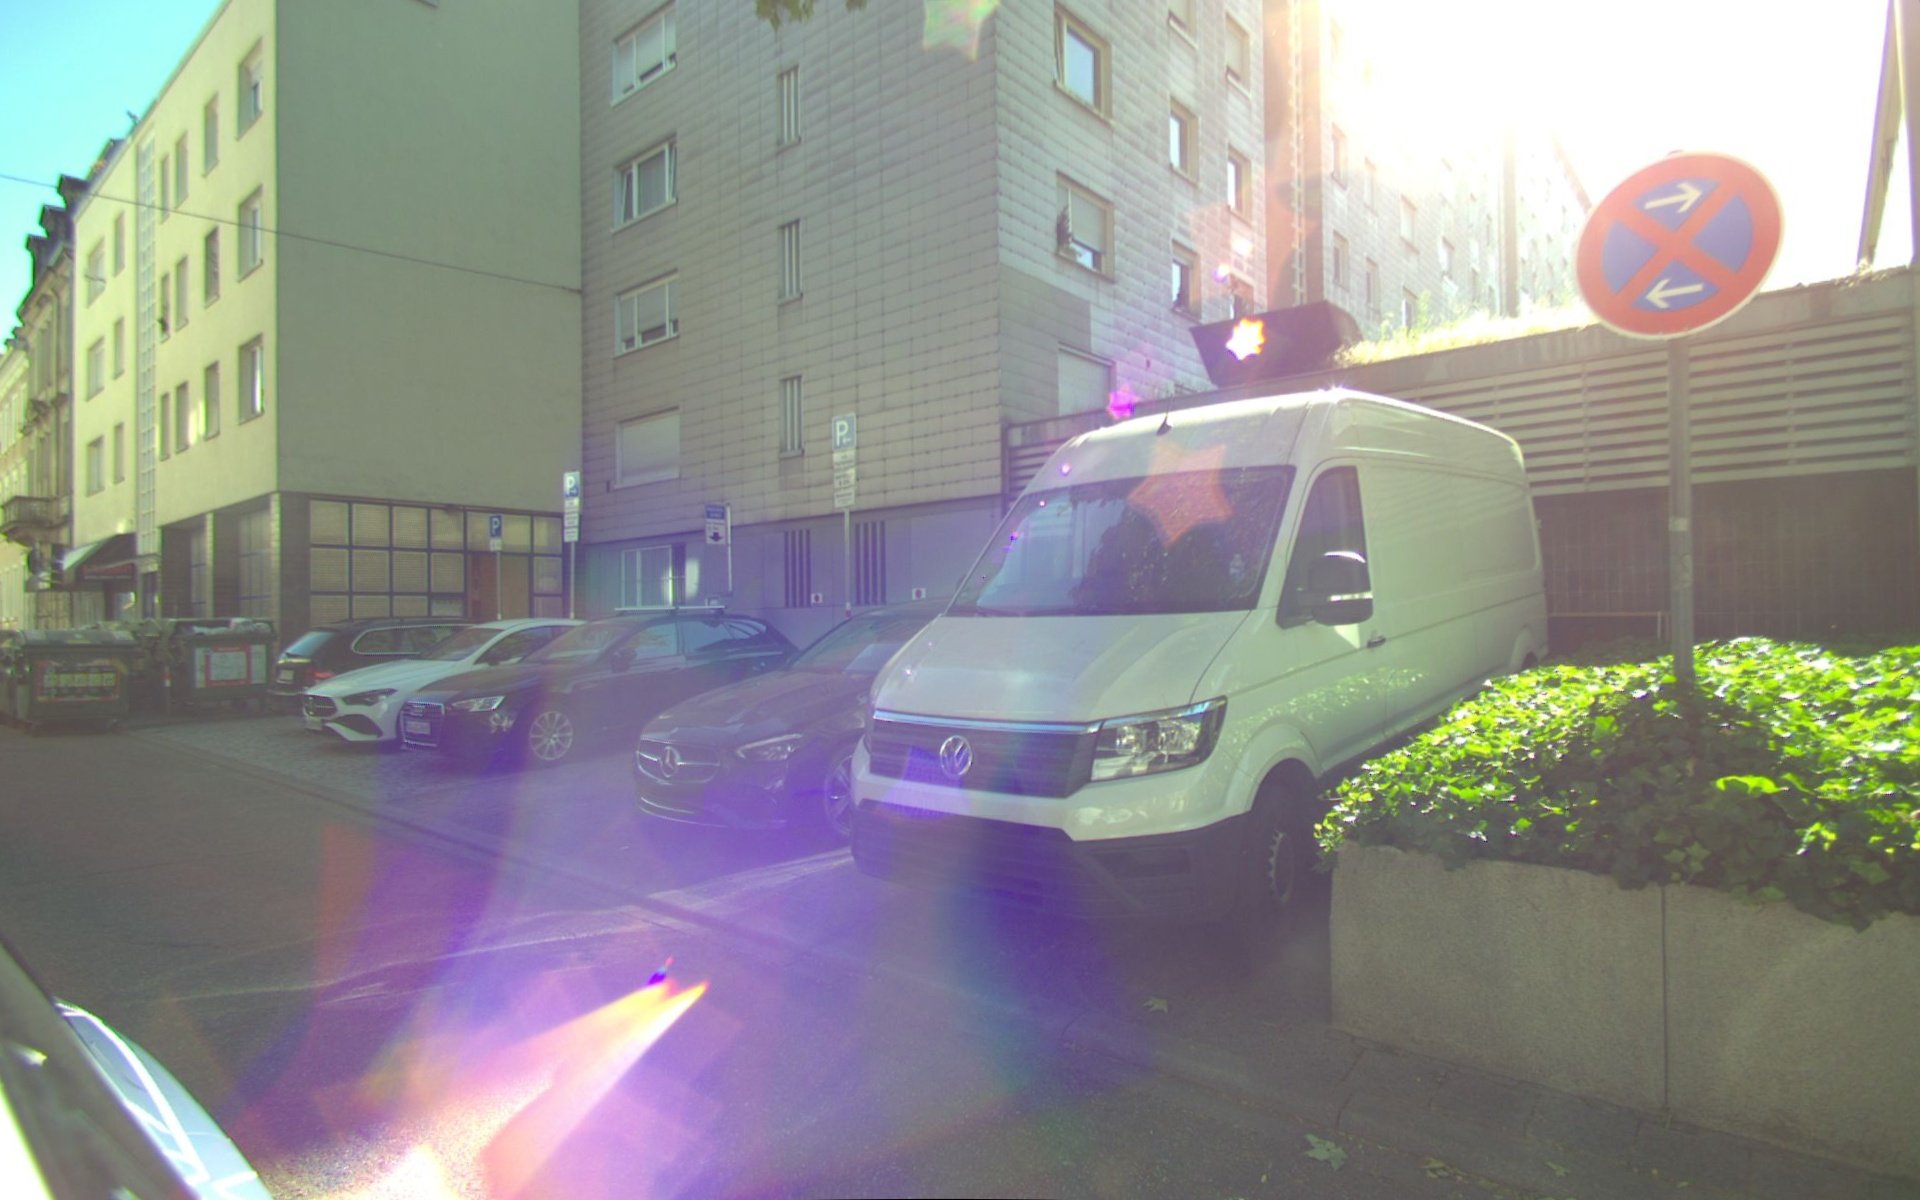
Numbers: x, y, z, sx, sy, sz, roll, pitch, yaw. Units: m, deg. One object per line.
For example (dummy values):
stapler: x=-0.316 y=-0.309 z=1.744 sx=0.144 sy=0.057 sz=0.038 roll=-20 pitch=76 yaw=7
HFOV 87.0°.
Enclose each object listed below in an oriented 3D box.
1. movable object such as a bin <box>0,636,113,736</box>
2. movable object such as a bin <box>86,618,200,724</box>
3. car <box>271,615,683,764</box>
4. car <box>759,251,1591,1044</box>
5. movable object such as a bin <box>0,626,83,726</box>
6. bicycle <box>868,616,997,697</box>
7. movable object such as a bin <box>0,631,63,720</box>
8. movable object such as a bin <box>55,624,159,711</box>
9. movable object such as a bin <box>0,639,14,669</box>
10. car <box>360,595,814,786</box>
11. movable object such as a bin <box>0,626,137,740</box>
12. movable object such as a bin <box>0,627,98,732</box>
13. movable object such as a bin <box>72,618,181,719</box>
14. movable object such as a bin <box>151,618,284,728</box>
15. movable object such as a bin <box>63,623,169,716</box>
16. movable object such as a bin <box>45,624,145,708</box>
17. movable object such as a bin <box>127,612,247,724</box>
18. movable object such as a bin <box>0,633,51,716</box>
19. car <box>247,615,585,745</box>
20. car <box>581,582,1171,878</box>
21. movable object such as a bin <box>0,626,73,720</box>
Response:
movable object such as a bin: x=-13.337 y=1.223 z=14.854 sx=1.045 sy=1.332 sz=1.228 roll=-1 pitch=-1 yaw=40
movable object such as a bin: x=-13.359 y=1.116 z=16.550 sx=1.081 sy=1.616 sz=1.275 roll=-1 pitch=-1 yaw=40
car: x=-5.925 y=0.972 z=12.857 sx=1.956 sy=1.436 sz=4.299 roll=-1 pitch=0 yaw=39
car: x=2.118 y=0.028 z=6.496 sx=2.145 sy=2.574 sz=6.668 roll=-1 pitch=2 yaw=42
movable object such as a bin: x=-15.016 y=1.194 z=16.212 sx=1.017 sy=1.510 sz=1.329 roll=-1 pitch=-1 yaw=40
bicycle: x=-0.443 y=0.840 z=15.273 sx=2.036 sy=1.132 sz=0.603 roll=-2 pitch=-1 yaw=40
movable object such as a bin: x=-16.585 y=1.298 z=17.573 sx=1.093 sy=1.495 sz=1.320 roll=-1 pitch=-3 yaw=40
movable object such as a bin: x=-15.703 y=1.205 z=18.641 sx=1.156 sy=1.510 sz=1.292 roll=-1 pitch=-1 yaw=40
movable object such as a bin: x=-36.395 y=2.039 z=38.357 sx=0.584 sy=1.140 sz=0.713 roll=-1 pitch=-2 yaw=37
car: x=-3.912 y=0.808 z=11.328 sx=1.913 sy=1.622 sz=4.423 roll=-1 pitch=0 yaw=38
movable object such as a bin: x=-12.486 y=1.115 z=14.163 sx=1.115 sy=1.462 sz=1.288 roll=-1 pitch=-1 yaw=37
movable object such as a bin: x=-14.195 y=1.185 z=15.530 sx=1.081 sy=1.502 sz=1.321 roll=-1 pitch=-1 yaw=40
movable object such as a bin: x=-14.177 y=1.124 z=17.230 sx=1.017 sy=1.633 sz=1.281 roll=-1 pitch=-1 yaw=40
movable object such as a bin: x=-11.223 y=1.060 z=15.322 sx=1.118 sy=1.561 sz=1.341 roll=-1 pitch=-1 yaw=34
movable object such as a bin: x=-14.919 y=1.190 z=17.902 sx=1.017 sy=1.534 sz=1.289 roll=-1 pitch=-1 yaw=40
movable object such as a bin: x=-16.576 y=1.223 z=19.402 sx=1.178 sy=1.509 sz=1.283 roll=-1 pitch=-1 yaw=40
movable object such as a bin: x=-12.191 y=1.025 z=15.972 sx=1.171 sy=1.665 sz=1.217 roll=-1 pitch=-1 yaw=34
movable object such as a bin: x=-17.472 y=1.340 z=18.340 sx=1.186 sy=1.461 sz=1.306 roll=-1 pitch=-3 yaw=40
car: x=-7.563 y=1.006 z=14.348 sx=1.825 sy=1.516 sz=3.837 roll=-1 pitch=-1 yaw=39
car: x=-0.351 y=0.708 z=7.882 sx=1.928 sy=1.481 sz=4.453 roll=-2 pitch=1 yaw=41
movable object such as a bin: x=-15.789 y=1.206 z=16.901 sx=1.002 sy=1.498 sz=1.335 roll=-1 pitch=-1 yaw=40
